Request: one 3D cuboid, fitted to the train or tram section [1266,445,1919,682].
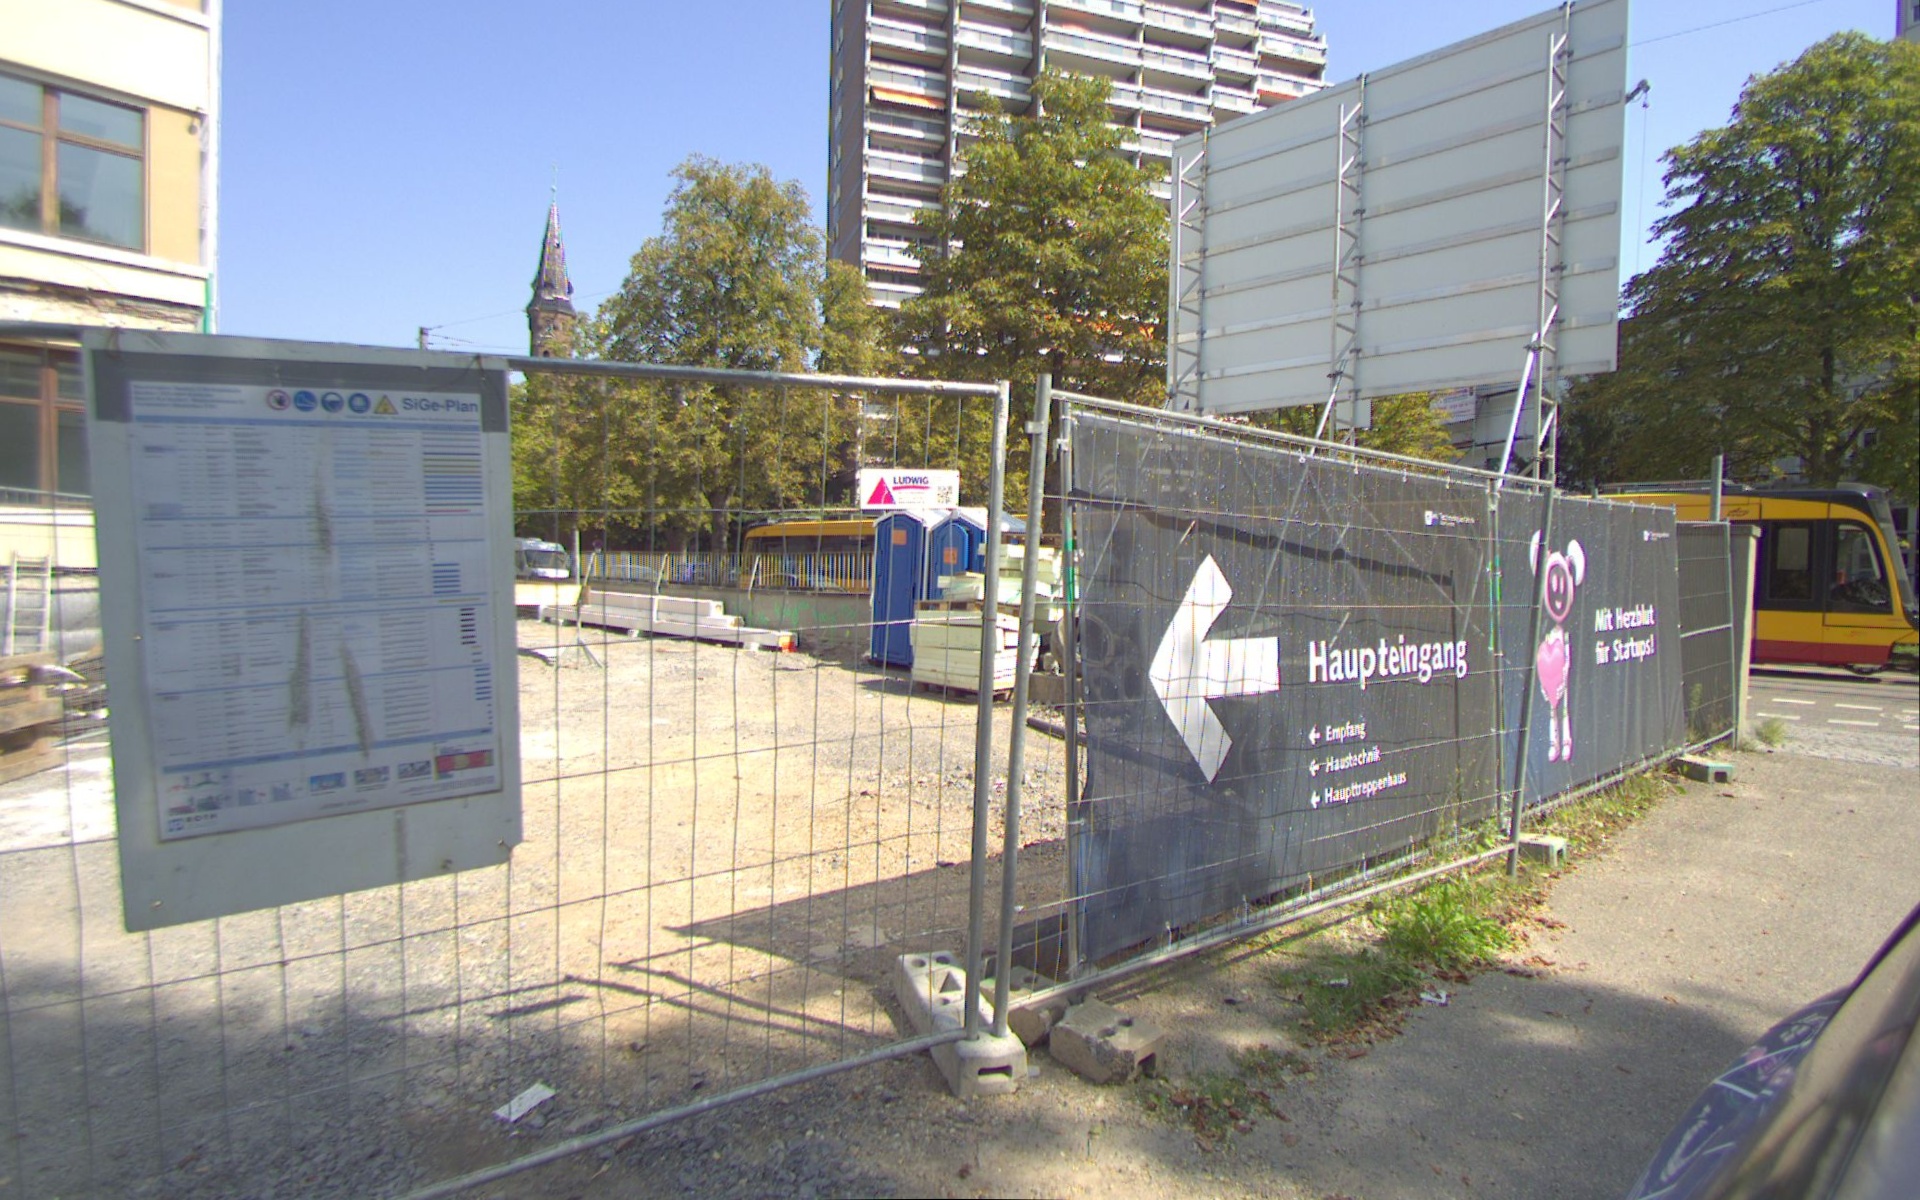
[{"bbox_3d":[12.851,-0.768,21.011,3.450,3.750,12.387,-1,2,-43],"label":"train or tram section"}]

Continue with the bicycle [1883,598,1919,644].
[{"bbox_3d":[26.172,0.549,27.592,2.297,1.173,0.603,-1,3,-24],"label":"bicycle"}]

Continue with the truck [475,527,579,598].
[{"bbox_3d":[-17.412,-1.533,40.576,1.892,2.631,5.578,0,2,-45],"label":"truck"}]

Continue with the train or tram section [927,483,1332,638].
[{"bbox_3d":[4.367,-1.169,30.158,3.450,3.750,12.387,-1,2,-43],"label":"train or tram section"}]

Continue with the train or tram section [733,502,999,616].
[{"bbox_3d":[-4.097,-1.579,39.280,3.450,3.750,12.387,-1,2,-43],"label":"train or tram section"}]

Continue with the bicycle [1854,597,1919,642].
[{"bbox_3d":[25.910,0.523,28.164,2.297,1.173,0.603,-1,3,-24],"label":"bicycle"}]

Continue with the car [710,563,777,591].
[{"bbox_3d":[-12.365,-1.322,58.084,1.758,1.515,4.269,1,2,19],"label":"car"}]
